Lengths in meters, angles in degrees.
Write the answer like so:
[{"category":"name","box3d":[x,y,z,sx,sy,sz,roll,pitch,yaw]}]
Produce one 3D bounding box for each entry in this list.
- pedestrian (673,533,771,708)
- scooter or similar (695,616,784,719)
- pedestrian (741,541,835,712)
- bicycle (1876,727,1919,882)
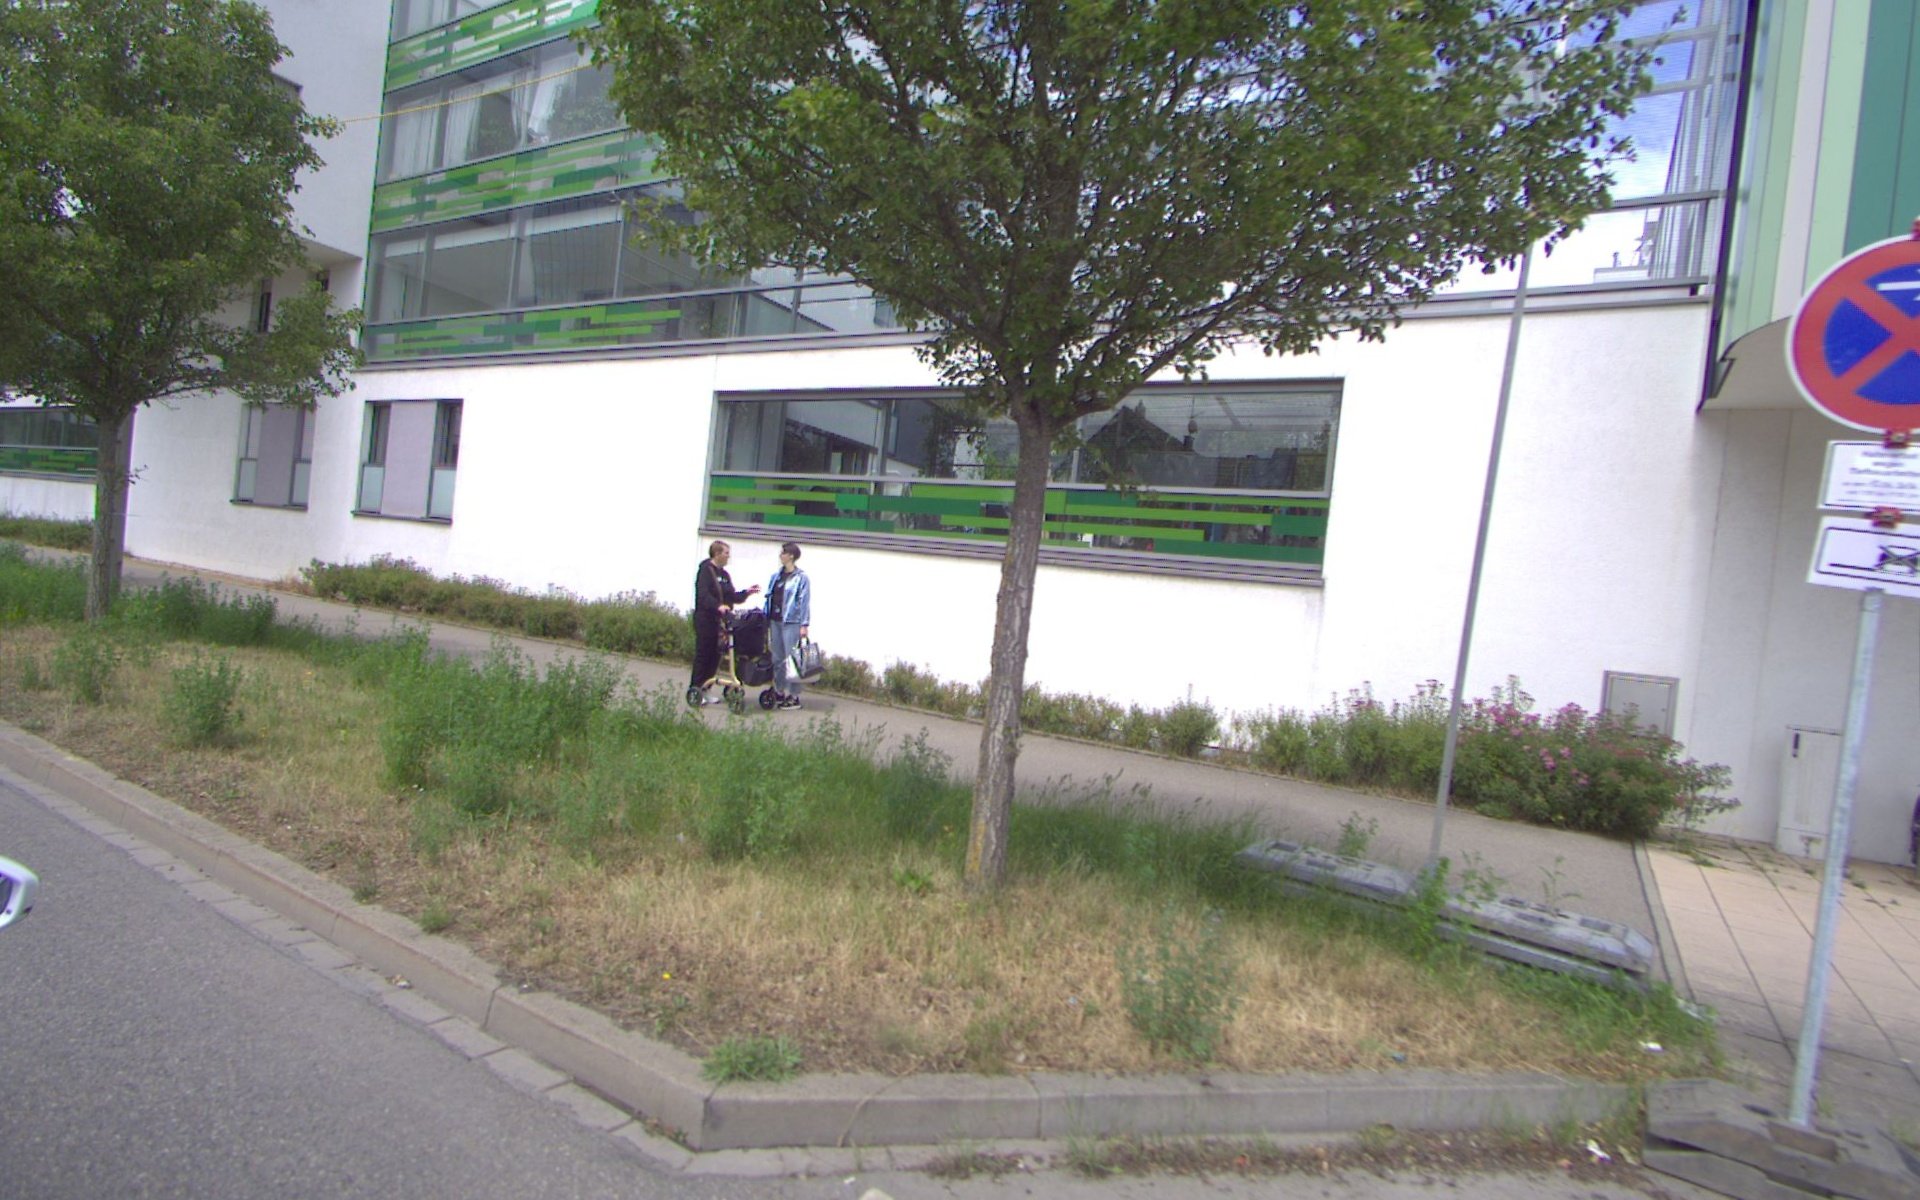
[{"category":"pedestrian","box3d":[-2.402,0.212,10.176,0.543,1.676,0.605,7,2,31]},{"category":"scooter or similar","box3d":[-2.175,0.659,9.921,0.670,0.917,0.422,7,2,31]},{"category":"pedestrian","box3d":[-1.782,0.273,10.434,0.597,1.676,0.550,7,2,31]},{"category":"bicycle","box3d":[6.981,1.494,6.952,0.301,1.059,1.468,7,1,19]}]
